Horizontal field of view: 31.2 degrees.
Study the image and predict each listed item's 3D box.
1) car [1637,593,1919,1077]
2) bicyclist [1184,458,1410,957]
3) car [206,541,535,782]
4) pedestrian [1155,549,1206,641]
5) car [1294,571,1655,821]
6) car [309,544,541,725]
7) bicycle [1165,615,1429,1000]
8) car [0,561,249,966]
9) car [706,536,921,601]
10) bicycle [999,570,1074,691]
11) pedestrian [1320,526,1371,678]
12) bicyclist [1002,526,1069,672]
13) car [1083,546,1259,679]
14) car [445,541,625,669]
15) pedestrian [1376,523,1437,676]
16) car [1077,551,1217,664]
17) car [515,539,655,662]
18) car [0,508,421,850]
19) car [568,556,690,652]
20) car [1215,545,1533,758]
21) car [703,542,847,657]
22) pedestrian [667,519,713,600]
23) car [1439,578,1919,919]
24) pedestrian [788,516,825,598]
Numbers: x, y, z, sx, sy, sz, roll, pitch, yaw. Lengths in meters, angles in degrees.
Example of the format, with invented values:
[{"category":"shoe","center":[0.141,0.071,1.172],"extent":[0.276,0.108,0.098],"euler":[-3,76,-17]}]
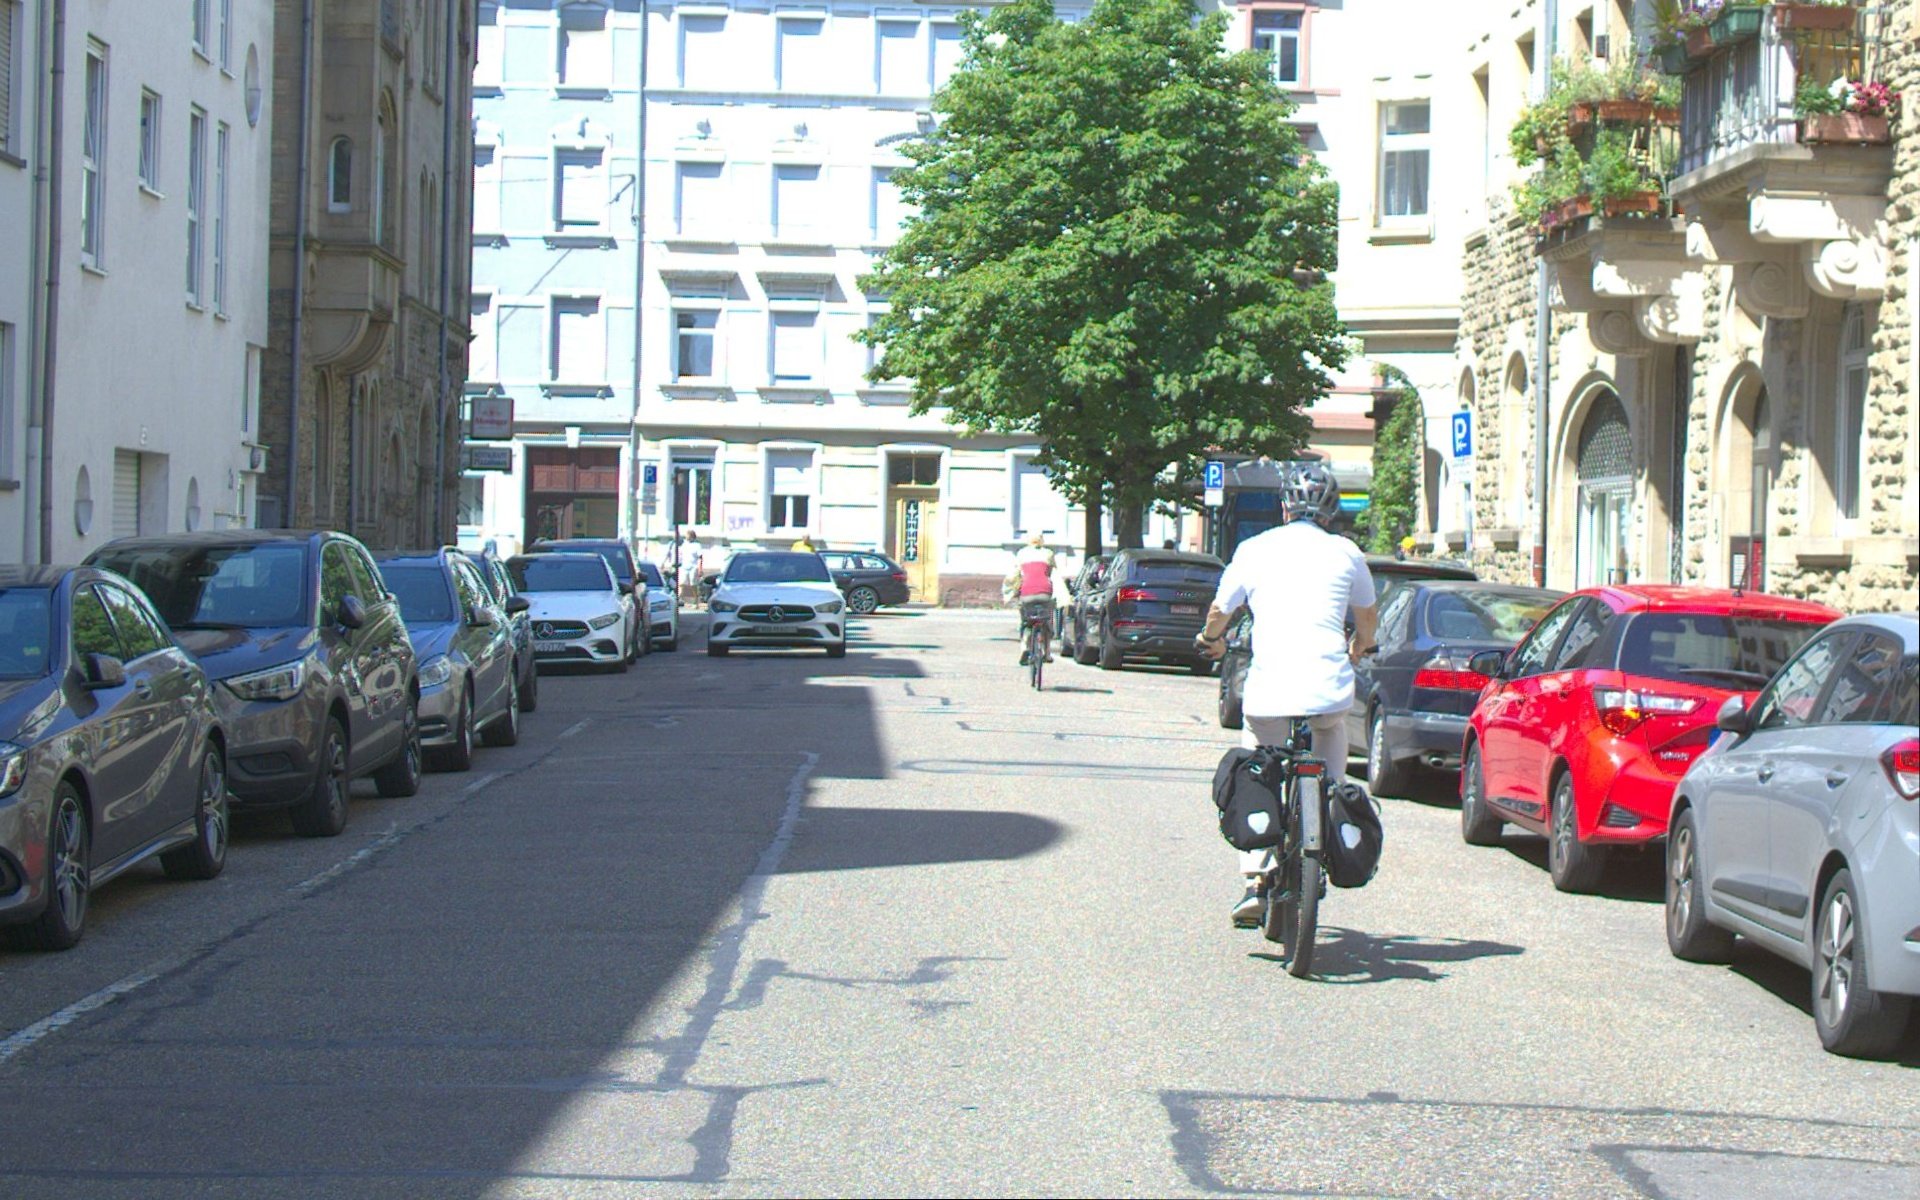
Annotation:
[{"category":"car","center":[3.643,0.760,12.454],"extent":[1.589,1.447,3.856],"euler":[3,1,1]},{"category":"bicyclist","center":[1.227,0.381,12.621],"extent":[0.670,1.754,0.609],"euler":[3,0,-1]},{"category":"car","center":[-4.050,0.366,24.280],"extent":[1.656,1.513,4.672],"euler":[-1,1,-2]},{"category":"pedestrian","center":[4.059,-0.096,63.334],"extent":[0.857,1.666,0.774],"euler":[1,0,-1]},{"category":"car","center":[3.379,0.578,23.261],"extent":[1.512,1.394,3.973],"euler":[5,0,-3]},{"category":"car","center":[-4.696,0.267,30.591],"extent":[1.567,1.486,3.894],"euler":[-1,1,-2]},{"category":"bicycle","center":[1.201,0.701,12.734],"extent":[0.652,1.224,2.441],"euler":[3,1,-1]},{"category":"car","center":[-4.152,0.550,13.922],"extent":[1.765,1.388,4.349],"euler":[-1,1,-2]},{"category":"car","center":[-3.364,-0.726,79.300],"extent":[4.859,1.432,2.000],"euler":[1,1,-2]},{"category":"bicycle","center":[0.799,0.299,36.414],"extent":[0.652,1.205,2.441],"euler":[3,1,-1]},{"category":"pedestrian","center":[4.805,0.024,42.836],"extent":[0.518,1.862,0.653],"euler":[1,0,1]},{"category":"bicyclist","center":[0.796,-0.011,36.567],"extent":[0.670,1.528,0.609],"euler":[1,0,-1]},{"category":"car","center":[2.754,0.134,45.810],"extent":[1.735,1.591,4.348],"euler":[3,1,-3]},{"category":"car","center":[-5.105,0.034,41.712],"extent":[1.776,1.455,4.279],"euler":[-1,1,-2]},{"category":"pedestrian","center":[5.538,-0.009,42.656],"extent":[0.599,1.873,0.883],"euler":[1,0,0]},{"category":"car","center":[2.756,0.081,51.467],"extent":[1.663,1.535,4.178],"euler":[3,1,-2]},{"category":"car","center":[-5.044,-0.014,46.660],"extent":[1.672,1.577,4.053],"euler":[-1,1,-3]},{"category":"car","center":[-3.991,0.362,18.689],"extent":[1.603,1.638,3.977],"euler":[-1,1,-2]},{"category":"car","center":[-4.942,0.035,51.714],"extent":[1.701,1.348,4.516],"euler":[-1,1,-4]},{"category":"car","center":[3.398,0.371,29.066],"extent":[1.833,1.561,4.606],"euler":[3,1,-3]},{"category":"car","center":[-2.470,-0.032,46.711],"extent":[1.841,1.456,4.363],"euler":[-1,1,-2]},{"category":"pedestrian","center":[-6.282,-0.940,80.071],"extent":[0.850,1.882,0.935],"euler":[1,0,9]},{"category":"car","center":[3.594,0.669,17.635],"extent":[1.570,1.447,3.843],"euler":[3,1,-1]},{"category":"pedestrian","center":[-3.489,-0.974,78.059],"extent":[0.724,1.847,0.685],"euler":[1,0,-11]}]
